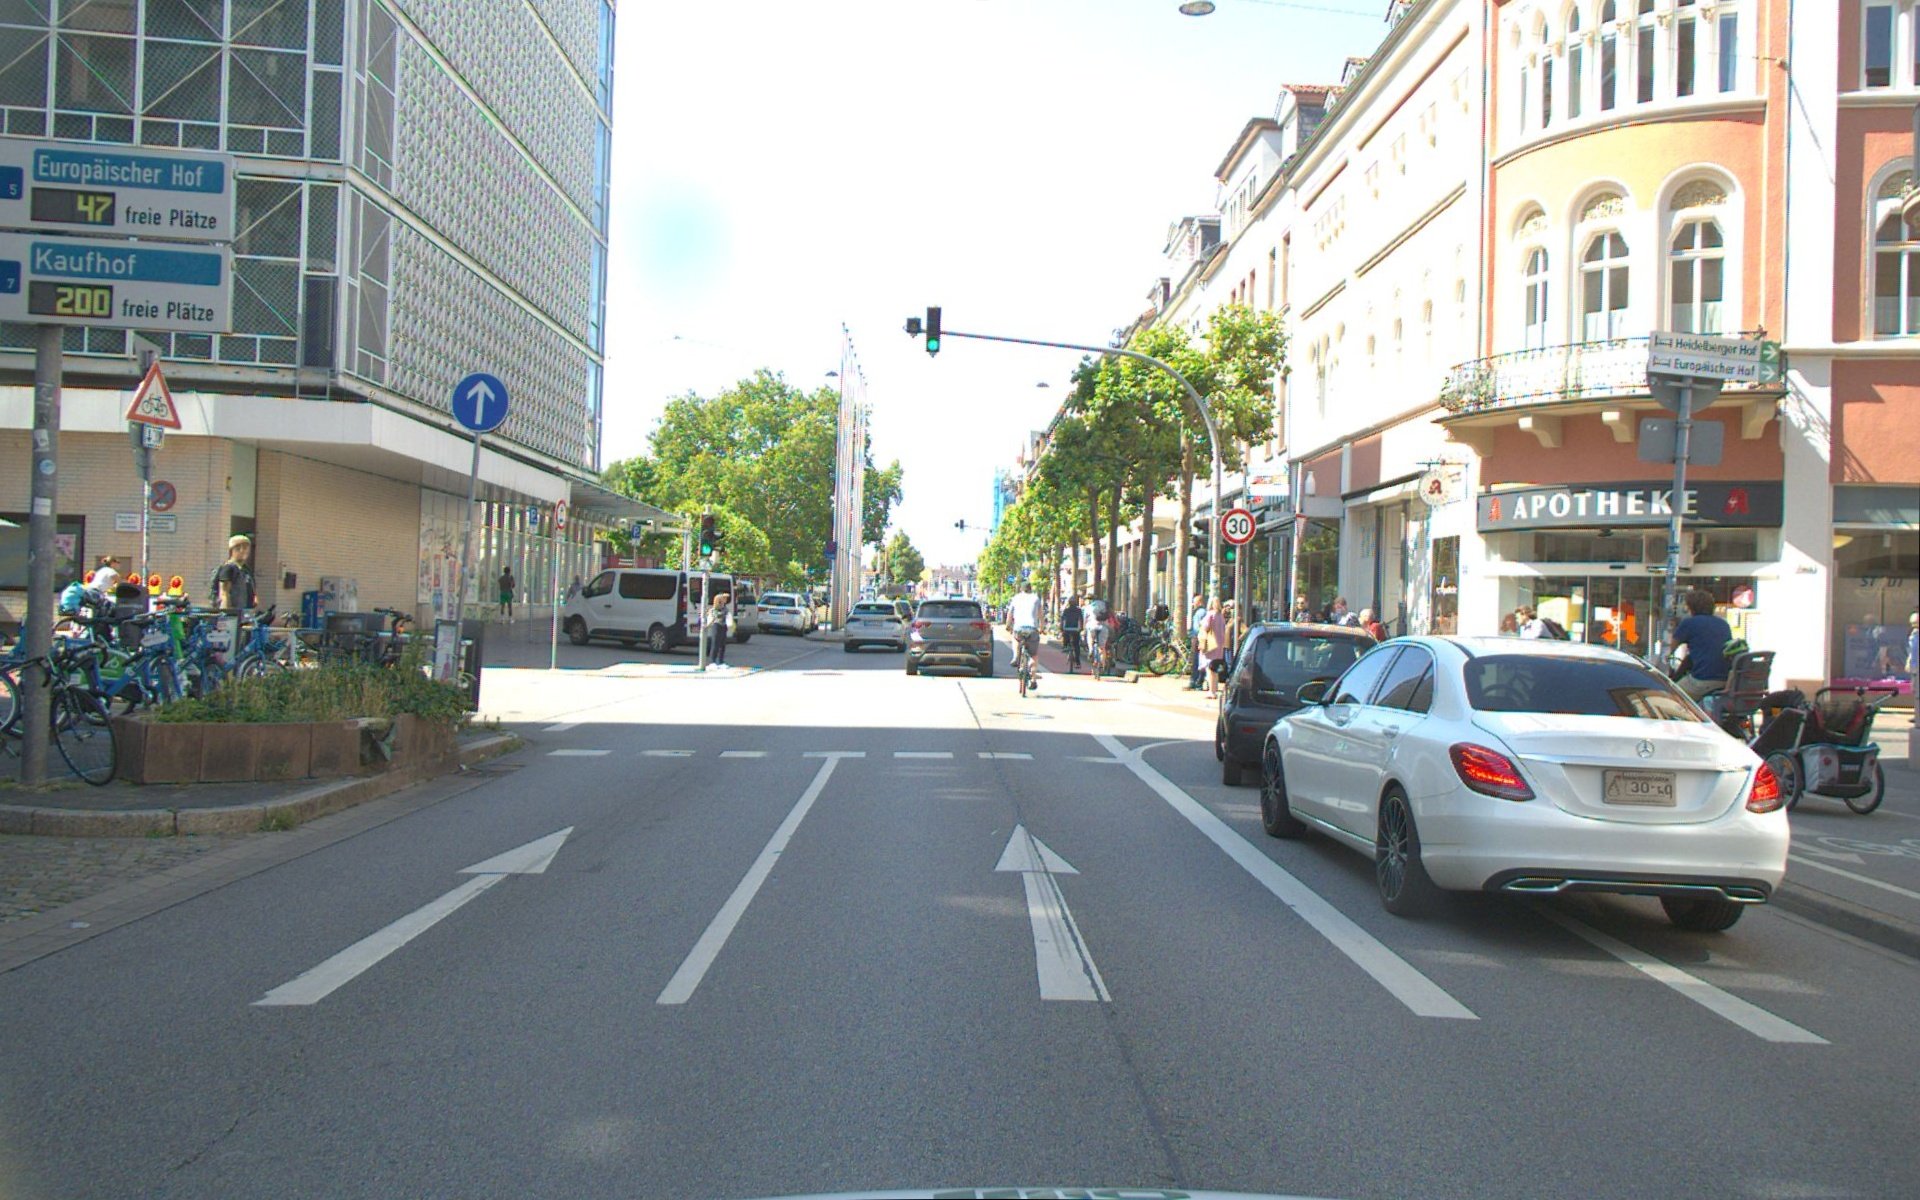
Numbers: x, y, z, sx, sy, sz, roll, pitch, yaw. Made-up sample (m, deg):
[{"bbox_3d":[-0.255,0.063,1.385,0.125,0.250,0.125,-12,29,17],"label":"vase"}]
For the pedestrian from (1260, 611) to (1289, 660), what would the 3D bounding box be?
[{"bbox_3d":[8.833,0.994,46.483,0.667,1.356,0.531,2,0,-3],"label":"pedestrian"}]

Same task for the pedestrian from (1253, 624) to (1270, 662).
[{"bbox_3d":[8.178,1.161,44.853,0.357,0.985,0.437,2,0,1],"label":"pedestrian"}]

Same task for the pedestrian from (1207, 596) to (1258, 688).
[{"bbox_3d":[5.200,0.797,31.586,0.771,1.720,0.641,2,0,-3],"label":"pedestrian"}]

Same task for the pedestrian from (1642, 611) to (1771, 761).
[{"bbox_3d":[8.443,0.969,18.738,0.890,1.640,0.966,1,-3,-30],"label":"pedestrian"}]

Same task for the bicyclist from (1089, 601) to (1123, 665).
[{"bbox_3d":[3.257,0.731,36.976,0.588,1.381,0.720,3,-2,-4],"label":"bicyclist"}]

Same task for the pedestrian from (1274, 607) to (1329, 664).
[{"bbox_3d":[8.791,0.915,42.564,1.208,1.447,0.789,1,-1,-3],"label":"pedestrian"}]

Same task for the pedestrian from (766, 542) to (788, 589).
[{"bbox_3d":[-7.288,-1.367,65.880,0.522,1.824,0.536,2,-3,39],"label":"pedestrian"}]

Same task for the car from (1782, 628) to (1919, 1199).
[{"bbox_3d":[3.418,0.879,2.714,1.848,1.517,4.289,4,-1,-1],"label":"car"}]

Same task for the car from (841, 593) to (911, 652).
[{"bbox_3d":[-2.378,0.627,47.607,1.808,1.587,4.000,1,0,0],"label":"car"}]

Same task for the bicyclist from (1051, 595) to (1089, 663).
[{"bbox_3d":[2.461,0.653,36.973,0.684,1.466,0.790,3,-1,-4],"label":"bicyclist"}]

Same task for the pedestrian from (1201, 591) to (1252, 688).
[{"bbox_3d":[5.198,0.765,32.286,0.772,1.826,0.641,3,0,-3],"label":"pedestrian"}]

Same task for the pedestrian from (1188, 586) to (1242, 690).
[{"bbox_3d":[4.410,0.664,28.648,0.627,1.739,0.789,-4,-2,-5],"label":"pedestrian"}]

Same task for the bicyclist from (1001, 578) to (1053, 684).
[{"bbox_3d":[1.078,0.489,26.692,0.758,1.664,0.851,1,0,0],"label":"bicyclist"}]

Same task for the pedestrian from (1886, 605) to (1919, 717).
[{"bbox_3d":[15.002,0.950,25.854,0.625,1.686,0.791,2,2,10],"label":"pedestrian"}]

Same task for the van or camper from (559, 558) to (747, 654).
[{"bbox_3d":[-7.569,0.126,40.562,4.574,2.048,1.990,4,1,39],"label":"van or camper"}]

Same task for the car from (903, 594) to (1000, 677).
[{"bbox_3d":[-0.234,0.689,34.017,1.809,1.587,3.998,1,0,-3],"label":"car"}]

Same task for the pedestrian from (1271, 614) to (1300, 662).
[{"bbox_3d":[8.809,1.028,44.743,0.626,1.275,0.608,0,-1,-3],"label":"pedestrian"}]

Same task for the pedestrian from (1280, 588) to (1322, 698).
[{"bbox_3d":[6.022,0.757,29.238,0.625,1.875,0.615,3,-1,11],"label":"pedestrian"}]

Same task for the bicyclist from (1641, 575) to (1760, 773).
[{"bbox_3d":[6.579,0.643,14.727,0.716,1.703,0.774,1,-1,1],"label":"bicyclist"}]

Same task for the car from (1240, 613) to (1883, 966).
[{"bbox_3d":[3.159,0.884,9.974,1.913,1.449,4.884,4,0,-2],"label":"car"}]

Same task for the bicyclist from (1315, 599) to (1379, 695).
[{"bbox_3d":[5.893,0.709,25.194,0.841,1.436,0.501,1,0,0],"label":"bicyclist"}]

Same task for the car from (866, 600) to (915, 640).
[{"bbox_3d":[-2.666,0.765,64.491,1.808,1.474,3.999,1,0,-1],"label":"car"}]

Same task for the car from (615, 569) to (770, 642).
[{"bbox_3d":[-7.902,0.139,48.784,4.358,1.943,2.002,2,0,36],"label":"car"}]

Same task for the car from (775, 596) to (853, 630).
[{"bbox_3d":[-7.661,0.641,87.357,1.854,1.568,4.858,3,2,26],"label":"car"}]

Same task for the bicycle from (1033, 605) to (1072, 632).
[{"bbox_3d":[4.613,0.913,82.263,1.891,1.270,0.736,2,0,2],"label":"bicycle"}]

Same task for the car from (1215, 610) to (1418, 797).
[{"bbox_3d":[3.304,0.916,15.872,1.594,1.504,3.734,2,-1,8],"label":"car"}]

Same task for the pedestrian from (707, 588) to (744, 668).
[{"bbox_3d":[-4.836,0.574,34.098,0.628,1.586,0.679,3,0,-12],"label":"pedestrian"}]

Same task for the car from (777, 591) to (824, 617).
[{"bbox_3d":[-12.828,0.332,133.584,1.821,1.989,4.761,2,-1,20],"label":"car"}]

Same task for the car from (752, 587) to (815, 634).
[{"bbox_3d":[-6.387,0.347,60.303,1.762,1.549,4.738,3,0,0],"label":"car"}]

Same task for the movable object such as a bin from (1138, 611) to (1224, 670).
[{"bbox_3d":[5.056,0.927,37.800,1.812,1.209,0.653,4,0,15],"label":"movable object such as a bin"}]

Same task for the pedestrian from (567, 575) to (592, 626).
[{"bbox_3d":[-12.163,0.016,52.898,0.665,1.586,0.640,1,0,-5],"label":"pedestrian"}]

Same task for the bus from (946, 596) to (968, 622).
[{"bbox_3d":[-0.479,1.365,241.654,2.934,3.657,11.741,2,-1,-1],"label":"bus"}]

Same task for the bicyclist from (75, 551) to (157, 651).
[{"bbox_3d":[-13.475,0.006,26.408,1.065,1.566,0.727,0,1,-36],"label":"bicyclist"}]

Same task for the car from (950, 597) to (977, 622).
[{"bbox_3d":[0.230,0.677,121.096,1.808,1.697,3.999,3,0,-1],"label":"car"}]

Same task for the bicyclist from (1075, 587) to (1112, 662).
[{"bbox_3d":[2.729,0.509,33.922,0.617,1.507,1.198,2,-1,-1],"label":"bicyclist"}]

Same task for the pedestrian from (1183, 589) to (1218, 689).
[{"bbox_3d":[4.499,0.719,30.921,0.443,1.826,0.607,3,0,-3],"label":"pedestrian"}]

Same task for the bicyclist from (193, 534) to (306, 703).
[{"bbox_3d":[-8.673,0.224,20.227,0.824,1.994,1.017,2,-1,5],"label":"bicyclist"}]

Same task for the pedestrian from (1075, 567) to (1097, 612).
[{"bbox_3d":[4.986,-0.407,65.376,0.626,1.718,0.843,4,0,-3],"label":"pedestrian"}]
